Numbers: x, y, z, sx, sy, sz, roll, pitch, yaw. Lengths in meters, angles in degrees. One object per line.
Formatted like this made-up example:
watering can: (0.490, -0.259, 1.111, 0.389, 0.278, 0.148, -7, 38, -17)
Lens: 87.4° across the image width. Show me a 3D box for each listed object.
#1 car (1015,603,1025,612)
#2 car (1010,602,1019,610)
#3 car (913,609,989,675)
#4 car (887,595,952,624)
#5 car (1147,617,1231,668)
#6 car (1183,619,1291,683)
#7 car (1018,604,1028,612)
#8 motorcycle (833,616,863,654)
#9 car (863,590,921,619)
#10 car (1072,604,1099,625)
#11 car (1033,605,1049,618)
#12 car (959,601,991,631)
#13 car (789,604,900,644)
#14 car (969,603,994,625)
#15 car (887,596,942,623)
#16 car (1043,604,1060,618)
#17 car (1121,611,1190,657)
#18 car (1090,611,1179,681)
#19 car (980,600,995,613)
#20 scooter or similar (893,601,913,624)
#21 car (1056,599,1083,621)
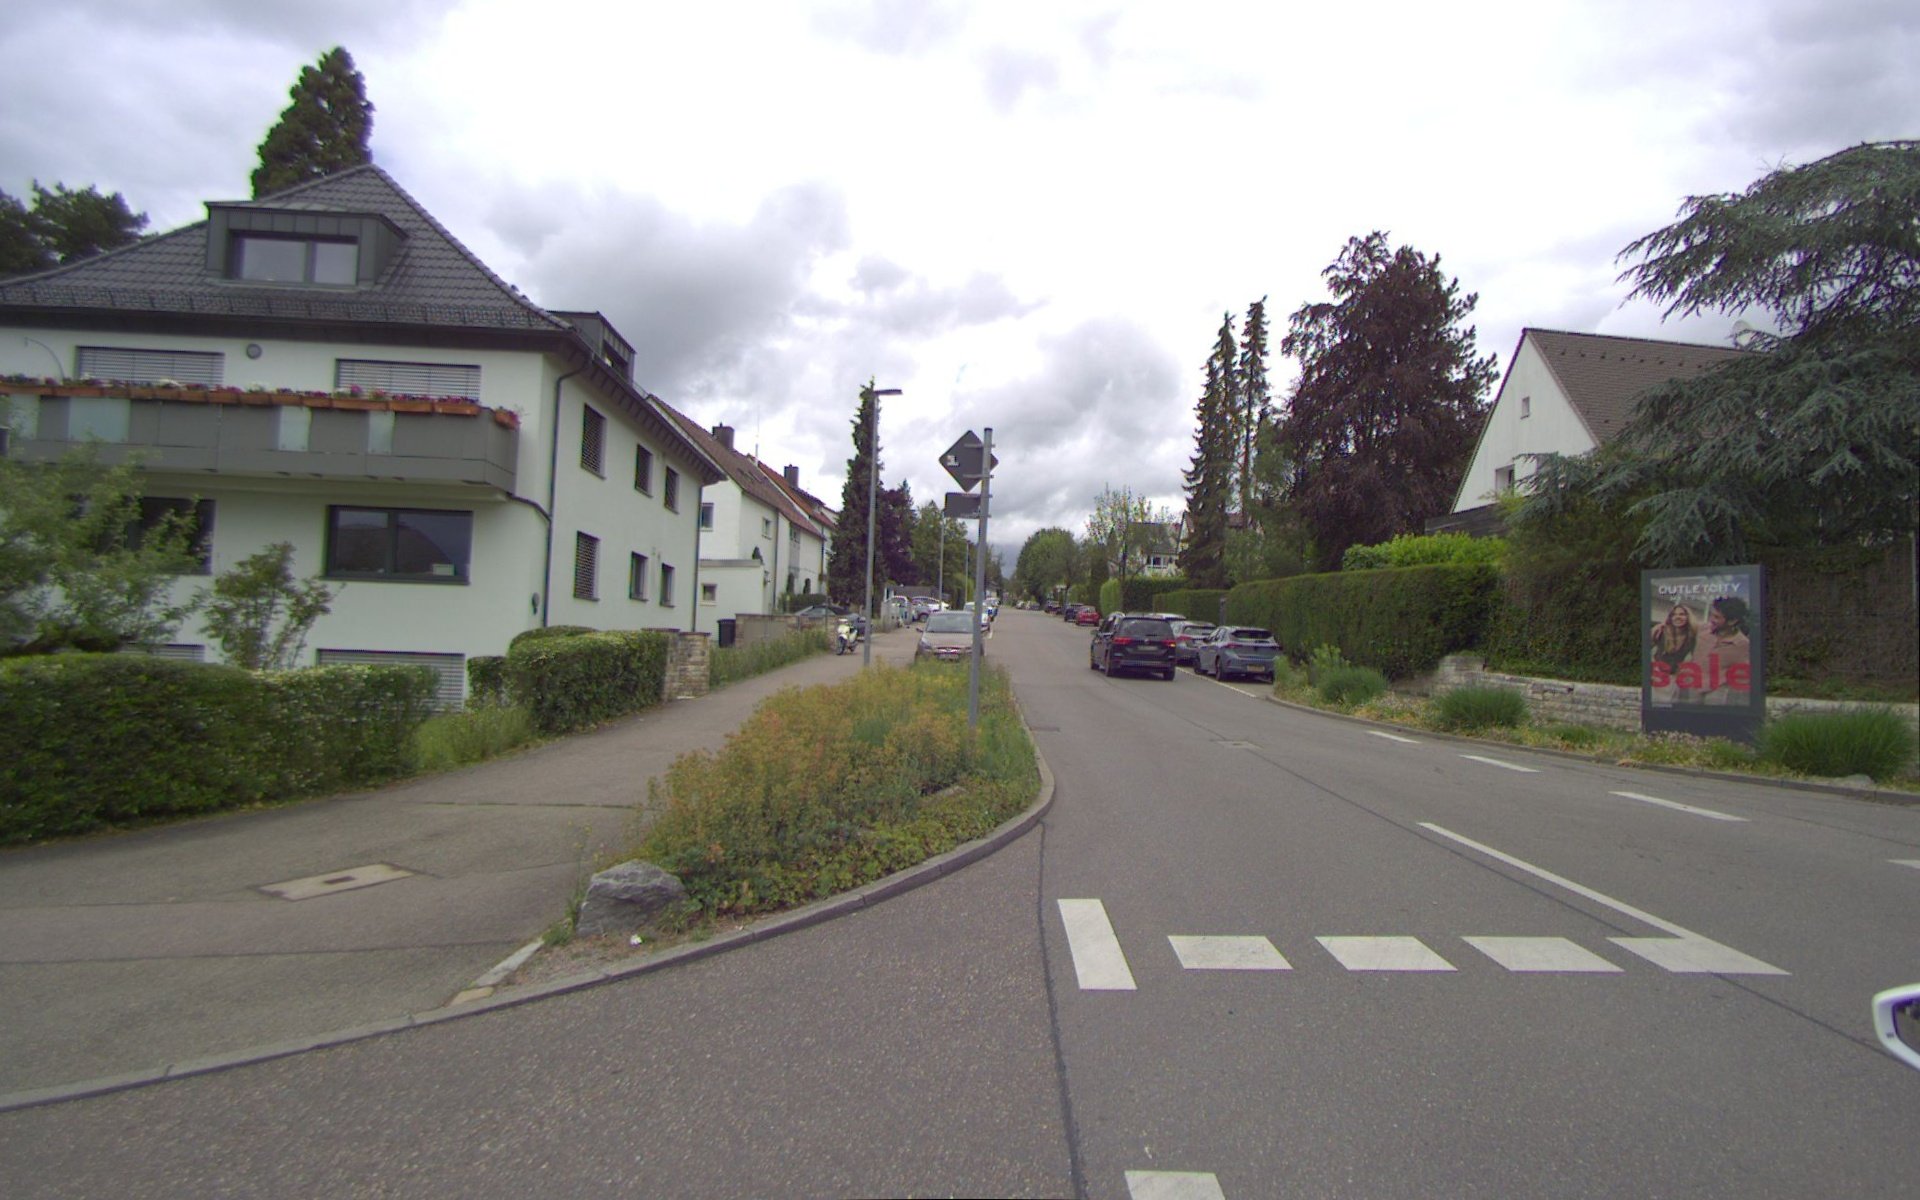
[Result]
car: (12.102, 1.491, 204.090, 1.638, 1.690, 3.466, 2, 0, -2)
car: (11.978, 1.260, 219.555, 1.617, 1.690, 3.466, 2, 0, -2)
car: (-0.177, 1.098, 27.674, 1.846, 1.606, 3.873, 2, 0, 2)
car: (-2.812, 0.632, 70.545, 4.339, 1.650, 1.911, 5, 0, 1)
car: (7.618, 1.372, 33.746, 1.824, 1.483, 4.172, 3, 0, 0)
car: (7.522, 1.348, 27.629, 1.824, 1.483, 4.000, 3, 0, 0)
car: (12.344, 1.609, 197.511, 1.638, 1.521, 3.466, 2, 0, -2)
motorcycle: (-3.514, 1.093, 31.671, 0.422, 1.176, 1.864, 1, -1, 10)
car: (-4.296, 0.294, 63.738, 3.372, 1.598, 1.657, 4, -1, 3)
car: (9.584, 1.088, 76.903, 1.633, 1.528, 3.759, 2, 0, 2)
car: (10.910, 1.529, 135.311, 1.960, 1.639, 4.514, 4, 0, 3)
car: (0.873, 0.883, 57.515, 1.731, 1.584, 3.856, 1, 0, 2)
car: (-4.484, 0.930, 39.557, 4.217, 1.386, 1.903, 2, 0, -3)
car: (1.731, 1.102, 79.596, 1.806, 1.688, 4.409, 1, 0, 3)
car: (-3.002, 0.648, 66.682, 3.372, 1.532, 1.693, 4, -1, 3)
car: (11.771, 1.351, 129.360, 1.960, 1.639, 4.514, 4, 0, 3)
car: (7.601, 1.298, 39.442, 1.824, 1.603, 4.172, 3, 0, 0)
car: (4.605, 1.173, 27.082, 1.816, 1.633, 4.312, 2, 0, 3)
car: (3.379, 0.782, 122.696, 1.694, 1.561, 4.000, 1, 0, 0)
scooter or similar: (-3.004, 0.685, 52.985, 0.466, 1.163, 1.455, 4, 1, 18)
car: (9.422, 0.847, 86.564, 1.960, 1.639, 4.514, 4, 0, 3)
